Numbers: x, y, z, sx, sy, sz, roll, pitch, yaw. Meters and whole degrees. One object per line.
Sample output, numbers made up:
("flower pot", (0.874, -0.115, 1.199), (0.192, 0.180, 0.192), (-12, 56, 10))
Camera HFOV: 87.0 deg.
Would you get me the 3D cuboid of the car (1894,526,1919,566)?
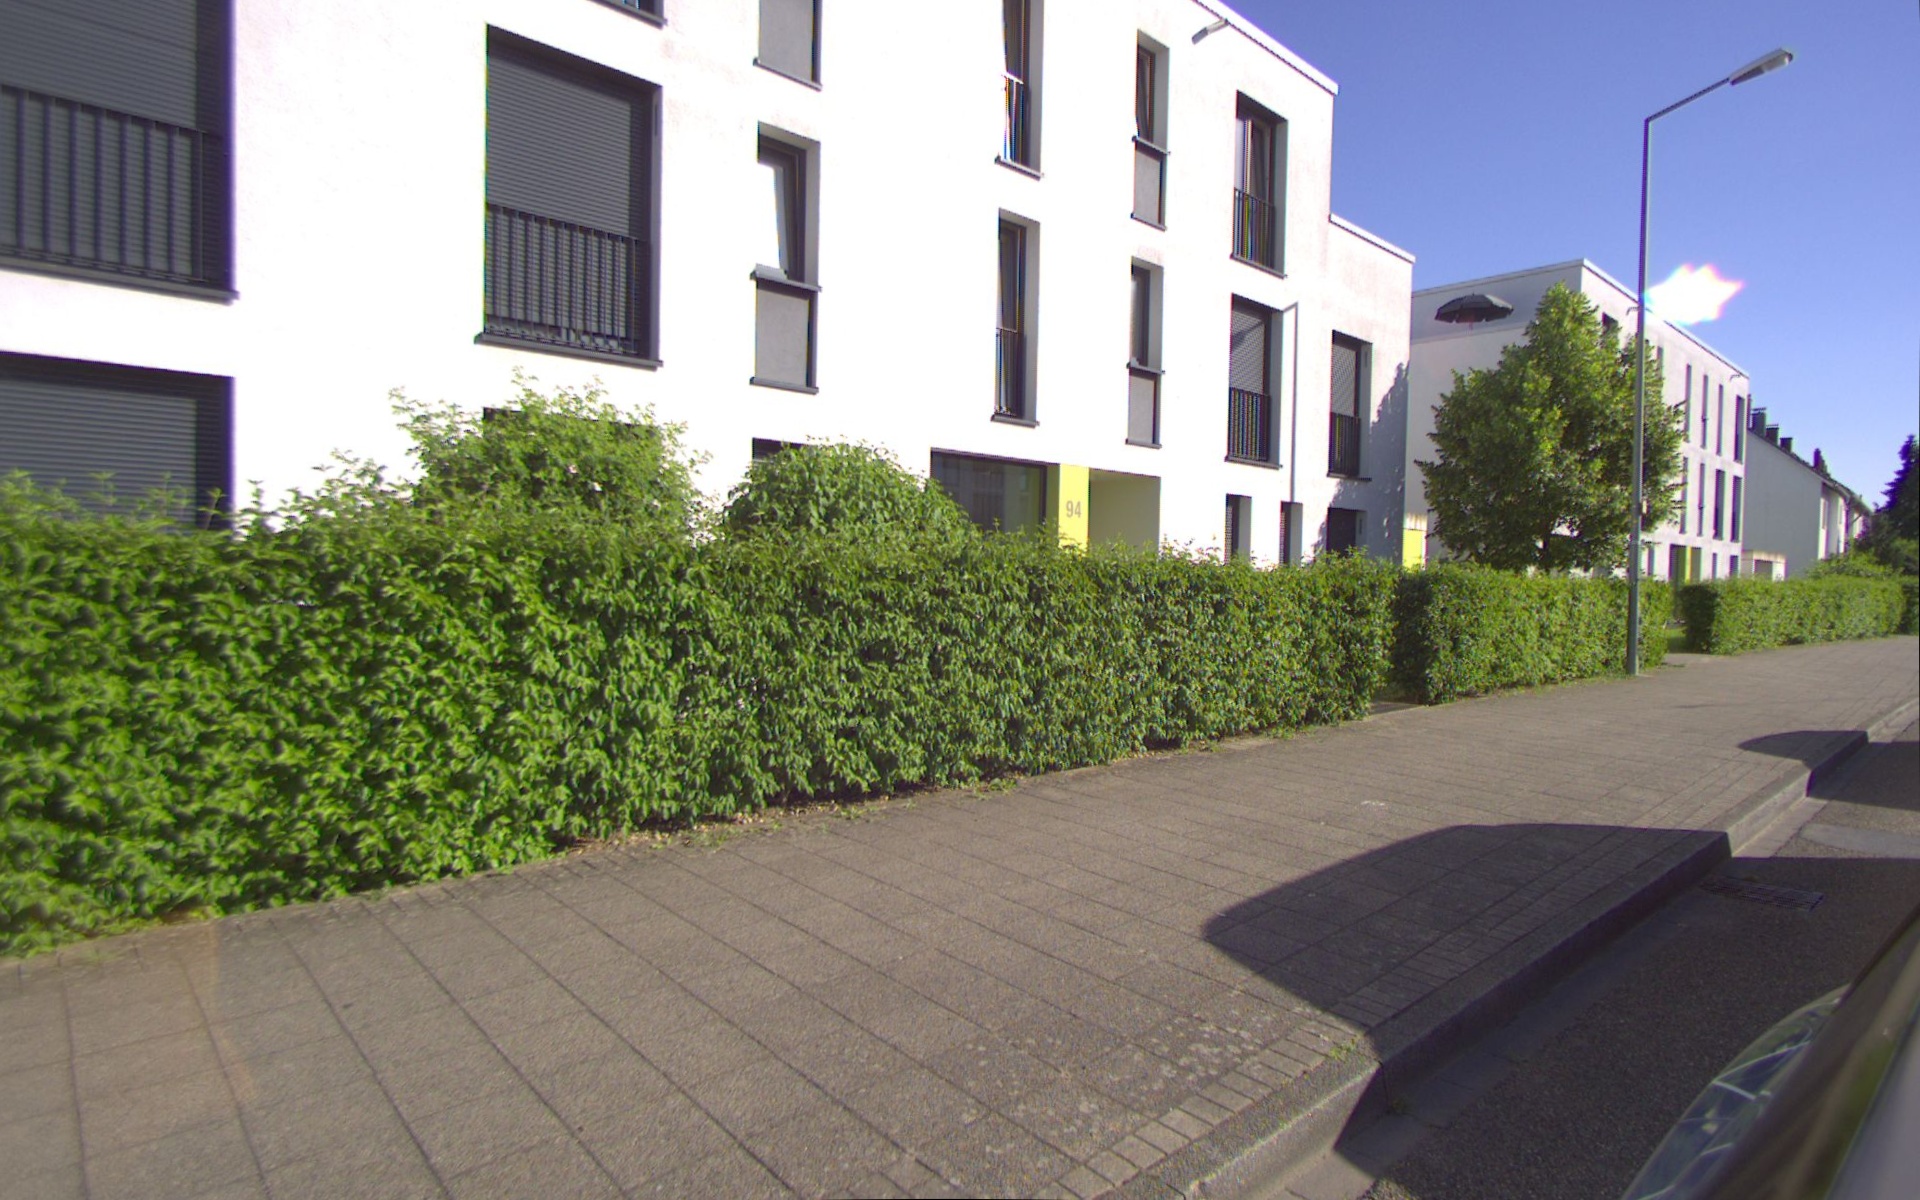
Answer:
("car", (61.730, -3.388, 64.013), (6.066, 2.376, 3.181), (-1, 1, -40))
